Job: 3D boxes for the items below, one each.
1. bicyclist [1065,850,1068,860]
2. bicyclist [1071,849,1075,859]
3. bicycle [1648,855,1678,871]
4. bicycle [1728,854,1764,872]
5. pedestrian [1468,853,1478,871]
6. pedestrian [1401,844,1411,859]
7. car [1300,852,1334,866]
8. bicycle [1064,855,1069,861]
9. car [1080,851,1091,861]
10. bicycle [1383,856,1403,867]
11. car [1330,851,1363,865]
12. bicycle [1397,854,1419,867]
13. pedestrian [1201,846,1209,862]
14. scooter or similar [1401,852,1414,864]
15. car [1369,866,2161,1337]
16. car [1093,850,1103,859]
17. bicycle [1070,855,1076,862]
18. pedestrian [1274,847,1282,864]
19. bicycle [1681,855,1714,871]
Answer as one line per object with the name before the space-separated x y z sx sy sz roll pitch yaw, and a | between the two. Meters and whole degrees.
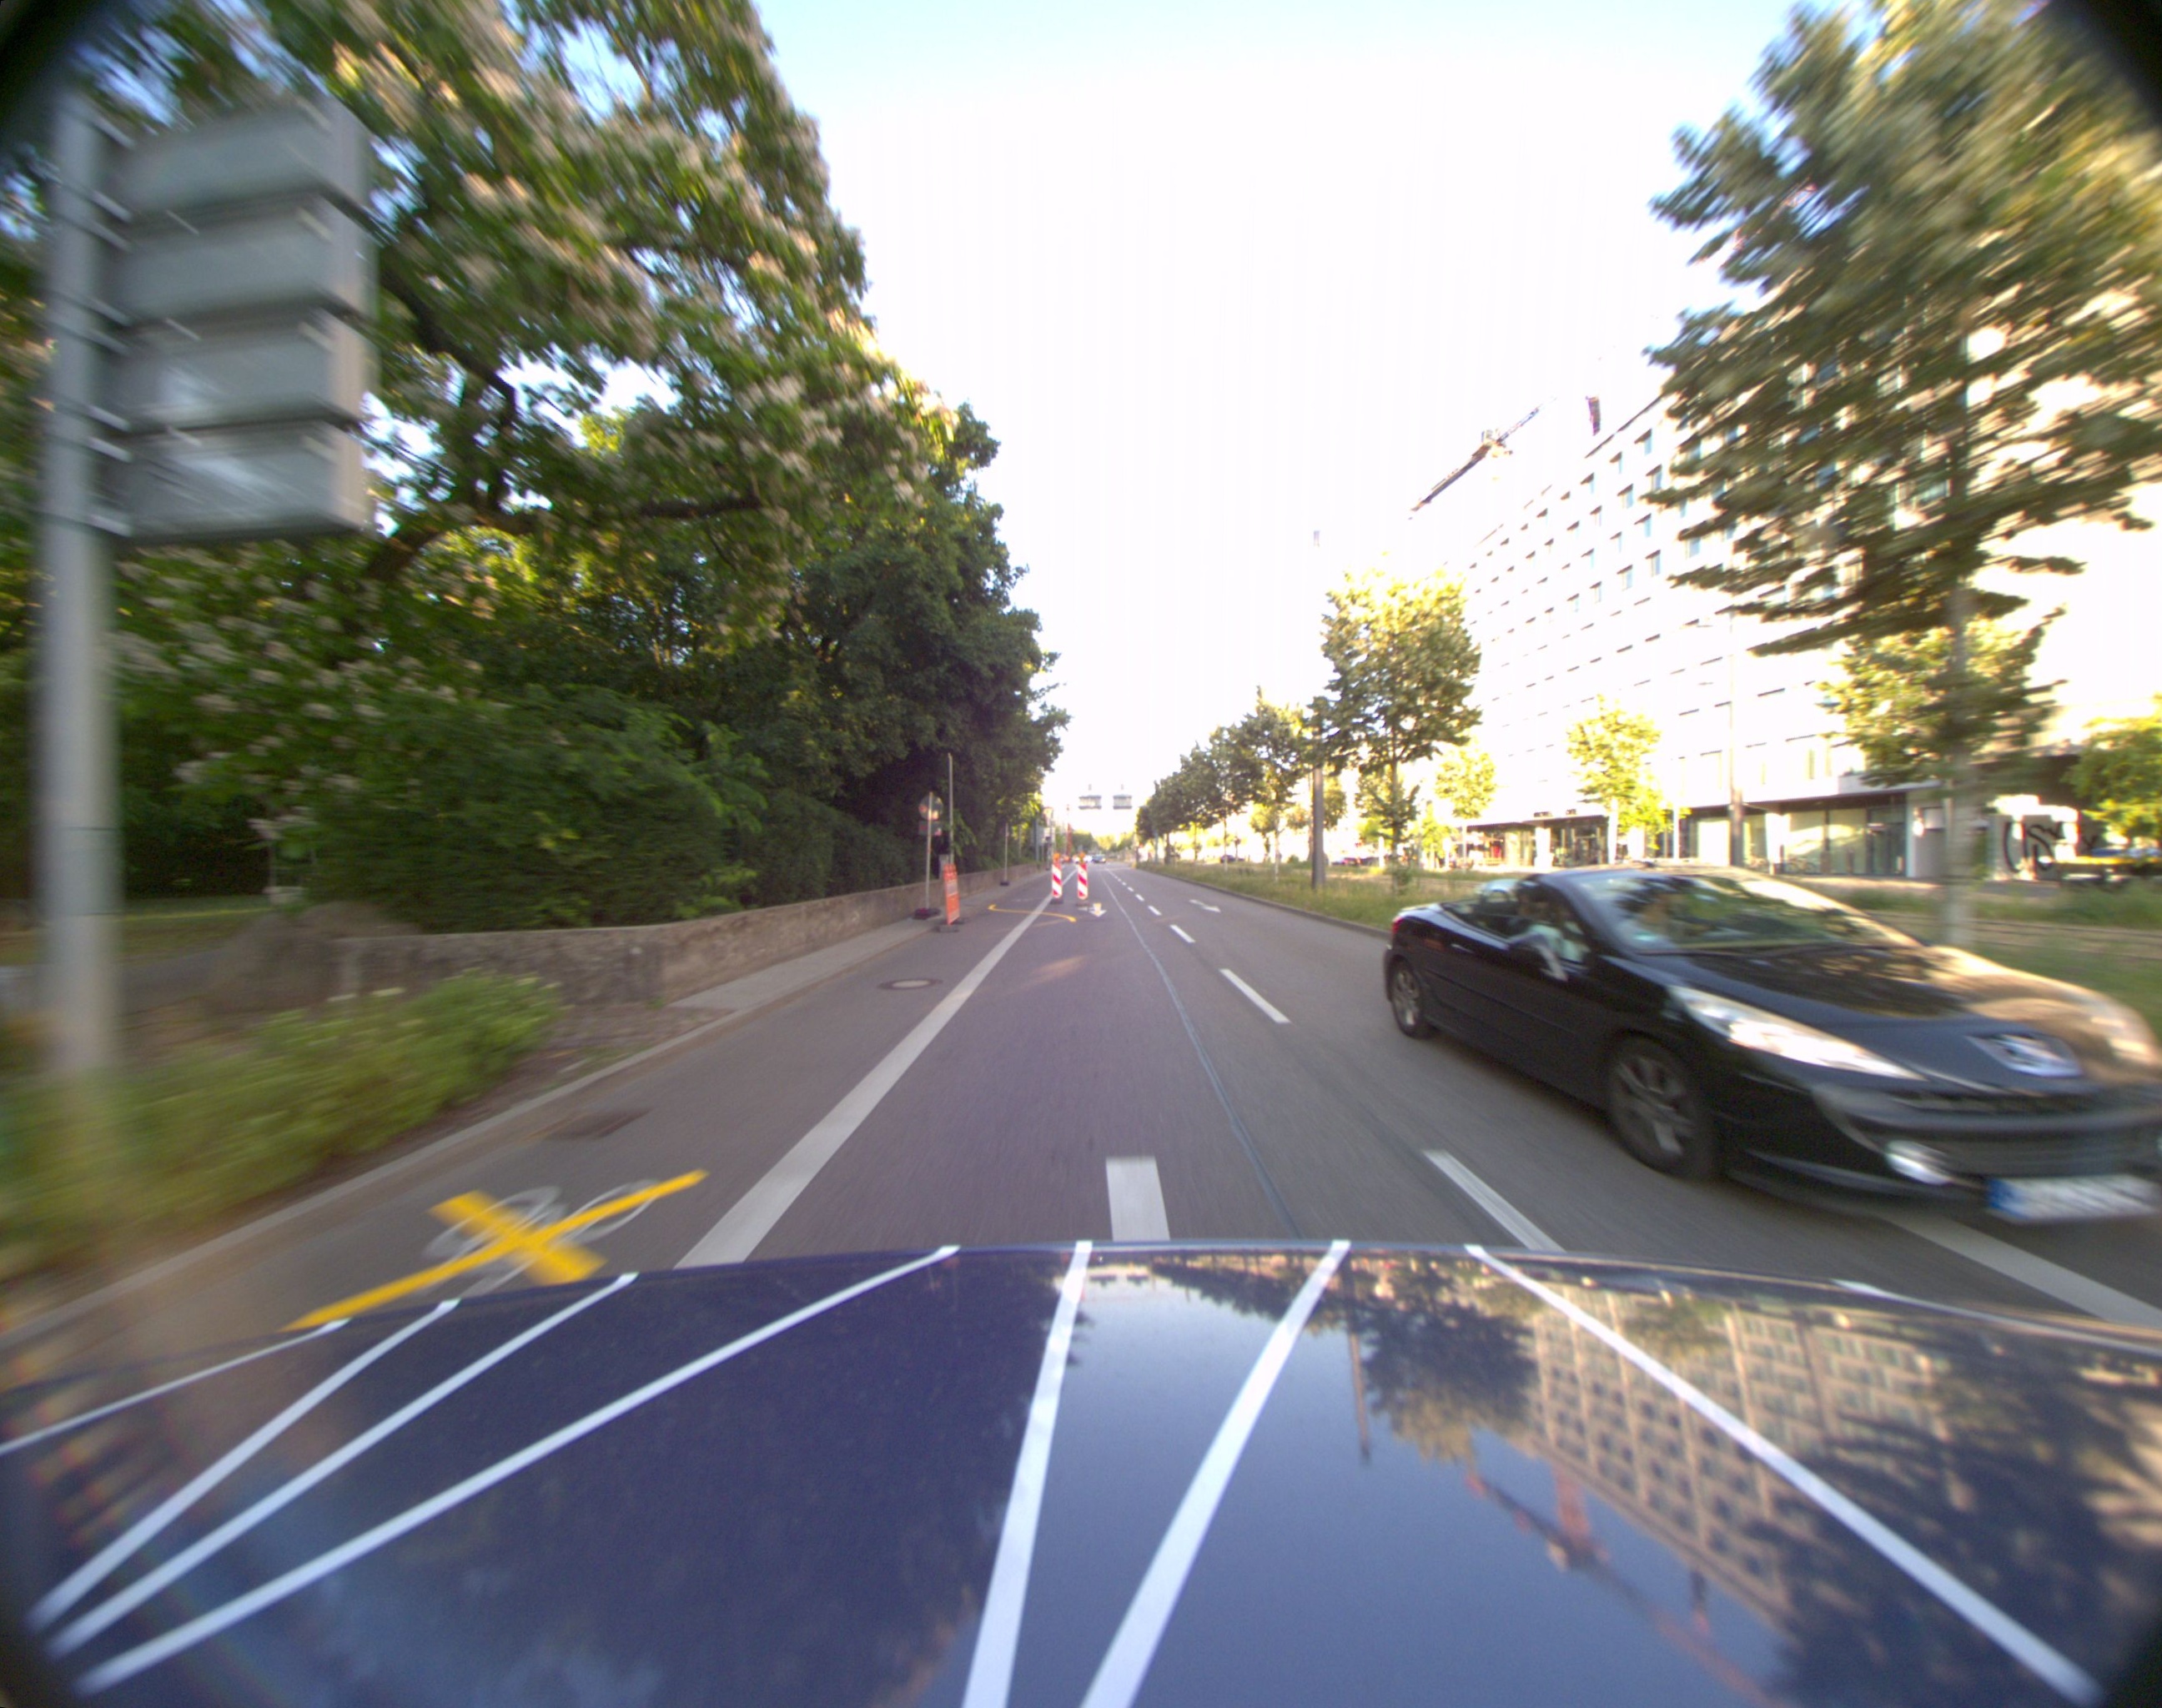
bicyclist | -2.482 0.203 130.058 0.509 1.692 0.768 2 2 4
bicyclist | -1.388 0.076 130.323 0.705 1.690 0.768 -2 -1 4
bicycle | 38.935 0.611 50.836 1.747 1.014 0.421 0 1 -3
bicycle | 38.606 0.498 44.128 1.792 1.014 0.421 0 1 -3
pedestrian | 35.263 0.695 68.381 0.498 1.590 0.603 -3 1 2
pedestrian | 35.961 -0.311 84.151 0.682 1.594 0.707 -3 1 -39
car | 24.475 0.490 78.904 2.020 1.432 4.801 1 0 1
bicycle | -2.506 0.671 129.923 0.528 1.045 2.048 2 2 4
car | 0.825 0.355 131.707 1.833 1.588 4.260 -1 0 2
bicycle | 32.520 0.762 79.209 1.914 1.053 0.443 -2 1 -2
car | 27.442 0.392 78.682 1.890 1.431 4.223 0 0 0
bicycle | 32.659 0.619 75.886 1.914 1.192 0.443 -2 1 -2
pedestrian | 15.265 -0.004 93.660 0.708 1.825 0.763 -3 1 0
scooter or similar | 32.821 0.381 76.445 1.184 1.210 0.338 -1 1 2
car | 3.271 0.808 4.352 1.723 1.441 3.901 -1 -1 0
car | 2.963 0.104 131.729 1.702 1.588 4.260 -1 0 2
bicycle | -1.394 0.724 130.016 0.721 1.045 2.044 -1 2 5
pedestrian | 23.802 0.216 91.952 0.833 2.002 0.854 -1 1 4
bicycle | 39.013 0.574 48.117 1.792 1.014 0.421 0 1 -3
